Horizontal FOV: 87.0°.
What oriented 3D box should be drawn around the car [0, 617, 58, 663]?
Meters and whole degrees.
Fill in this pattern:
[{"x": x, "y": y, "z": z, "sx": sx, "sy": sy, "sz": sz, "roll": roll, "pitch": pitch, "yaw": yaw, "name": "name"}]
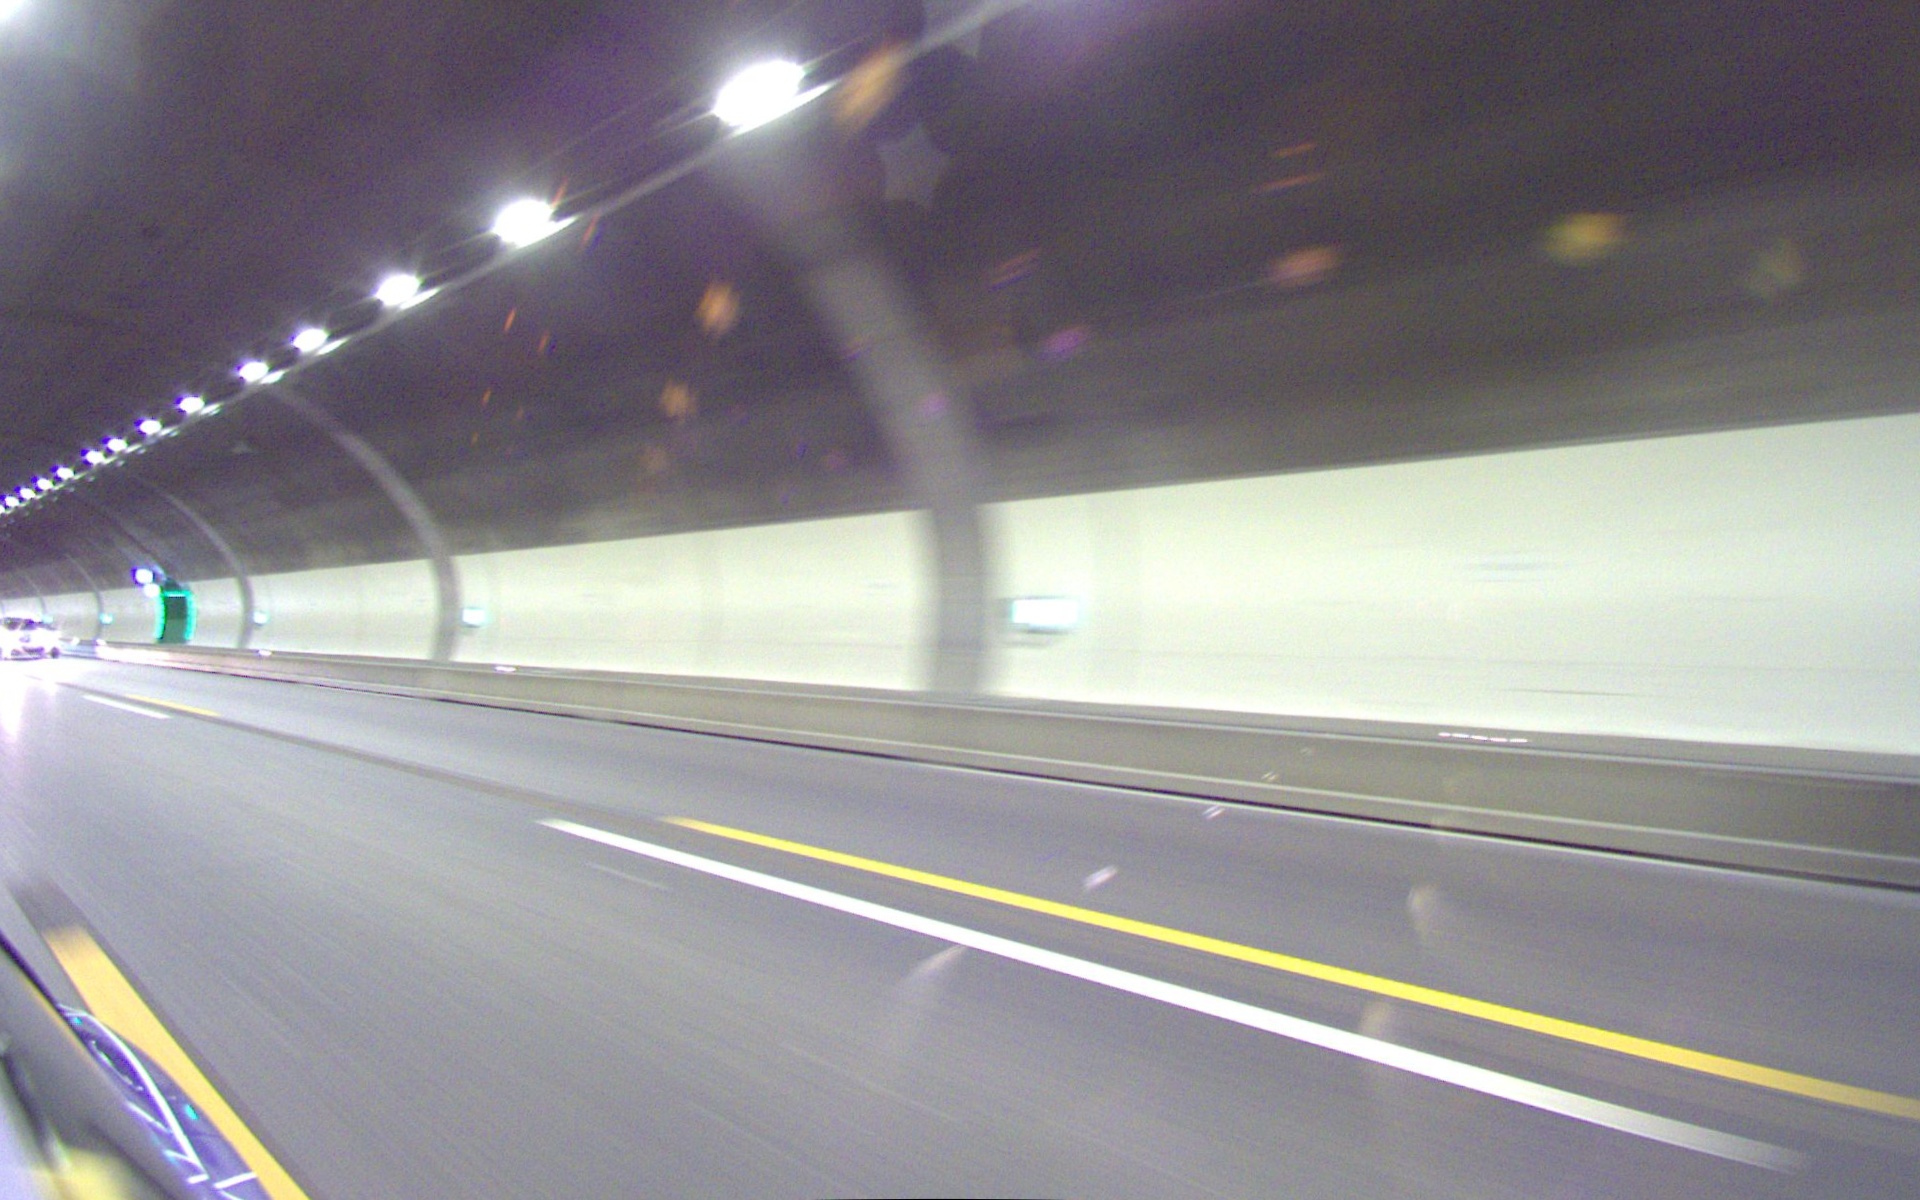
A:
[{"x": -34.577, "y": 1.440, "z": 37.042, "sx": 4.094, "sy": 1.584, "sz": 1.744, "roll": -1, "pitch": -1, "yaw": 40, "name": "car"}]
